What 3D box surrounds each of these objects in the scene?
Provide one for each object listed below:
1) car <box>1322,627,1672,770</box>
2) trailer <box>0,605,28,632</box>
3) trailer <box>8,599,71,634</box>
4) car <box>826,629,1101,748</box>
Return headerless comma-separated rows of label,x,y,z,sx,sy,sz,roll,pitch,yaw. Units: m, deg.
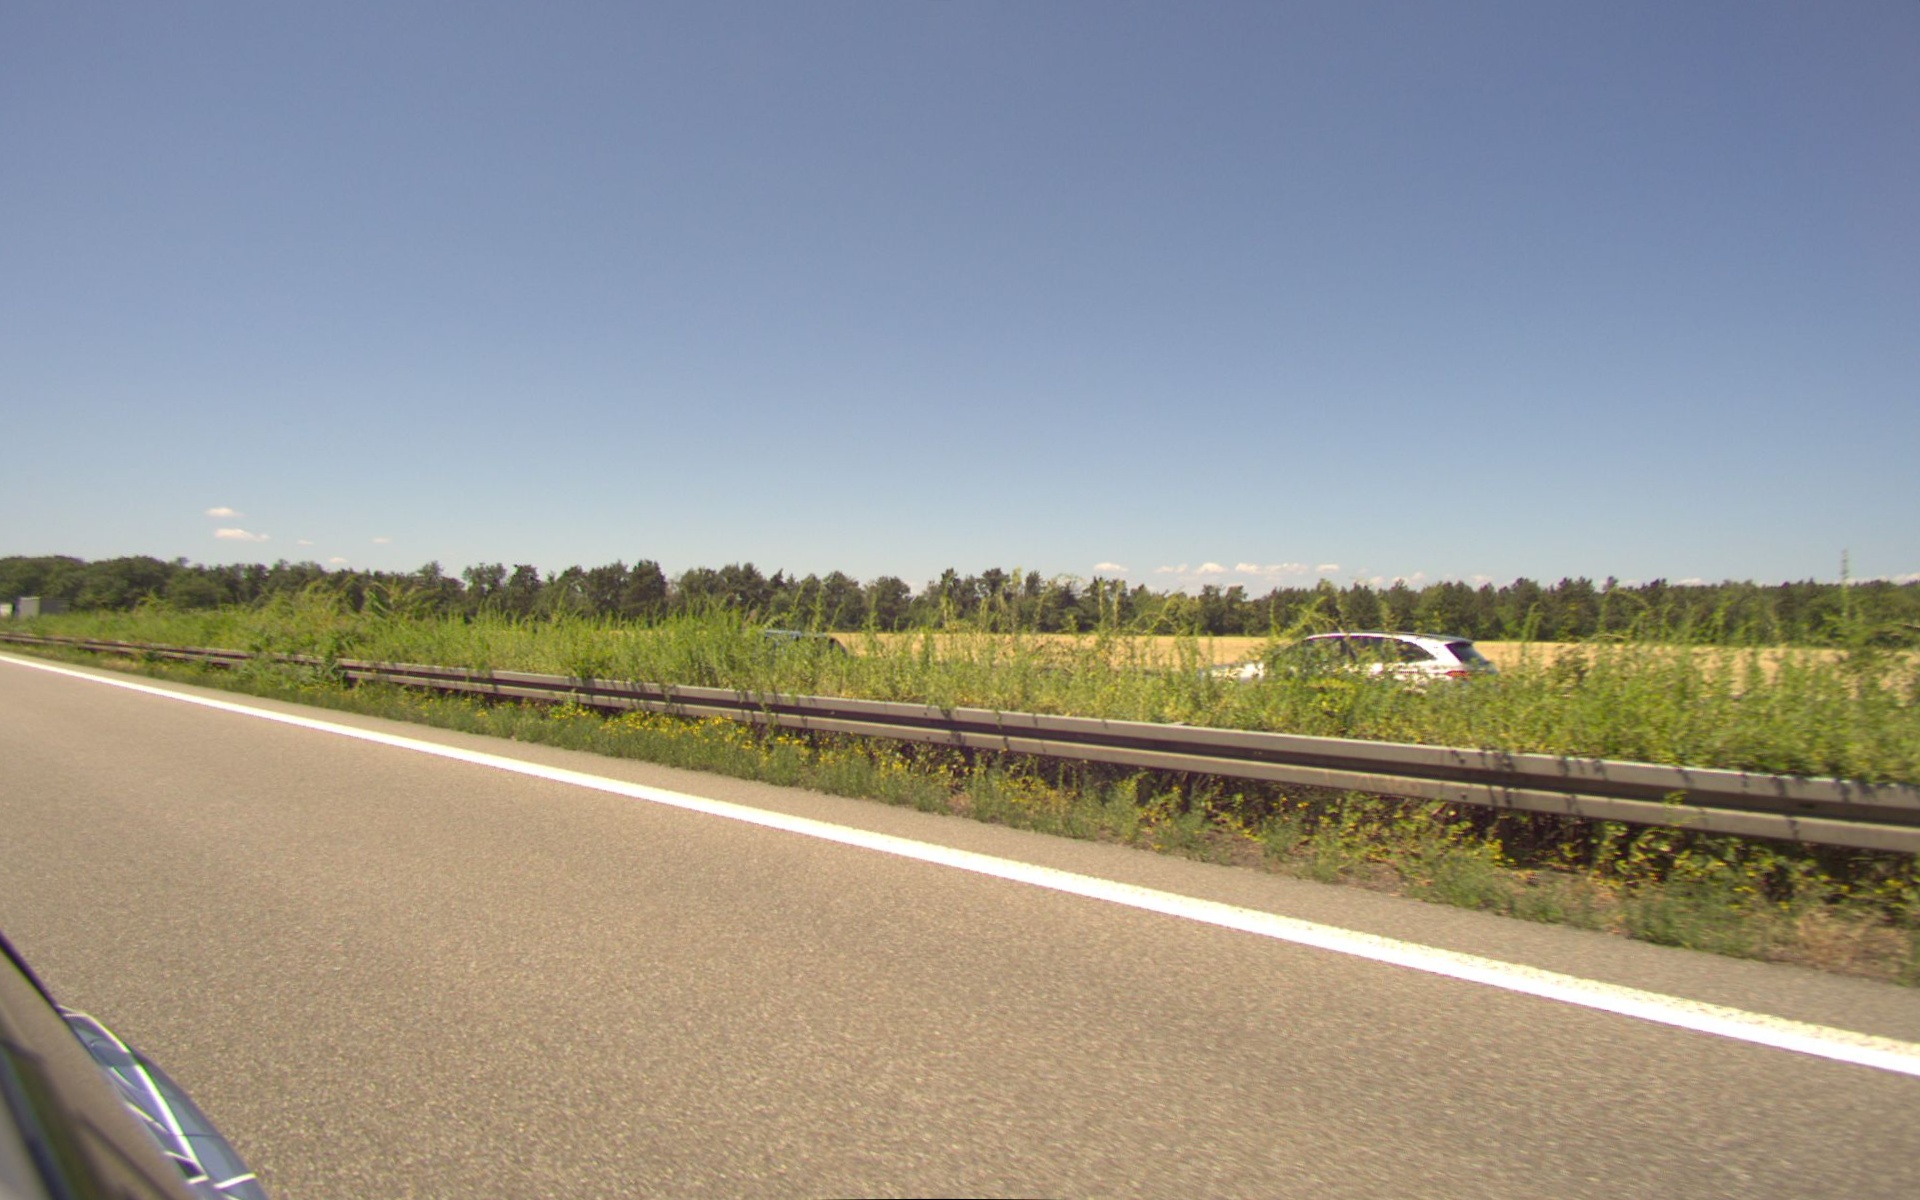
car,7.419,1.243,14.174,3.998,1.697,1.972,-1,-3,41
trailer,-141.036,2.766,149.799,14.377,3.726,3.077,-1,-1,42
trailer,-104.136,1.932,114.386,14.369,3.726,3.316,-1,-1,40
car,-0.029,1.231,15.341,3.998,1.552,1.790,-1,-3,41
